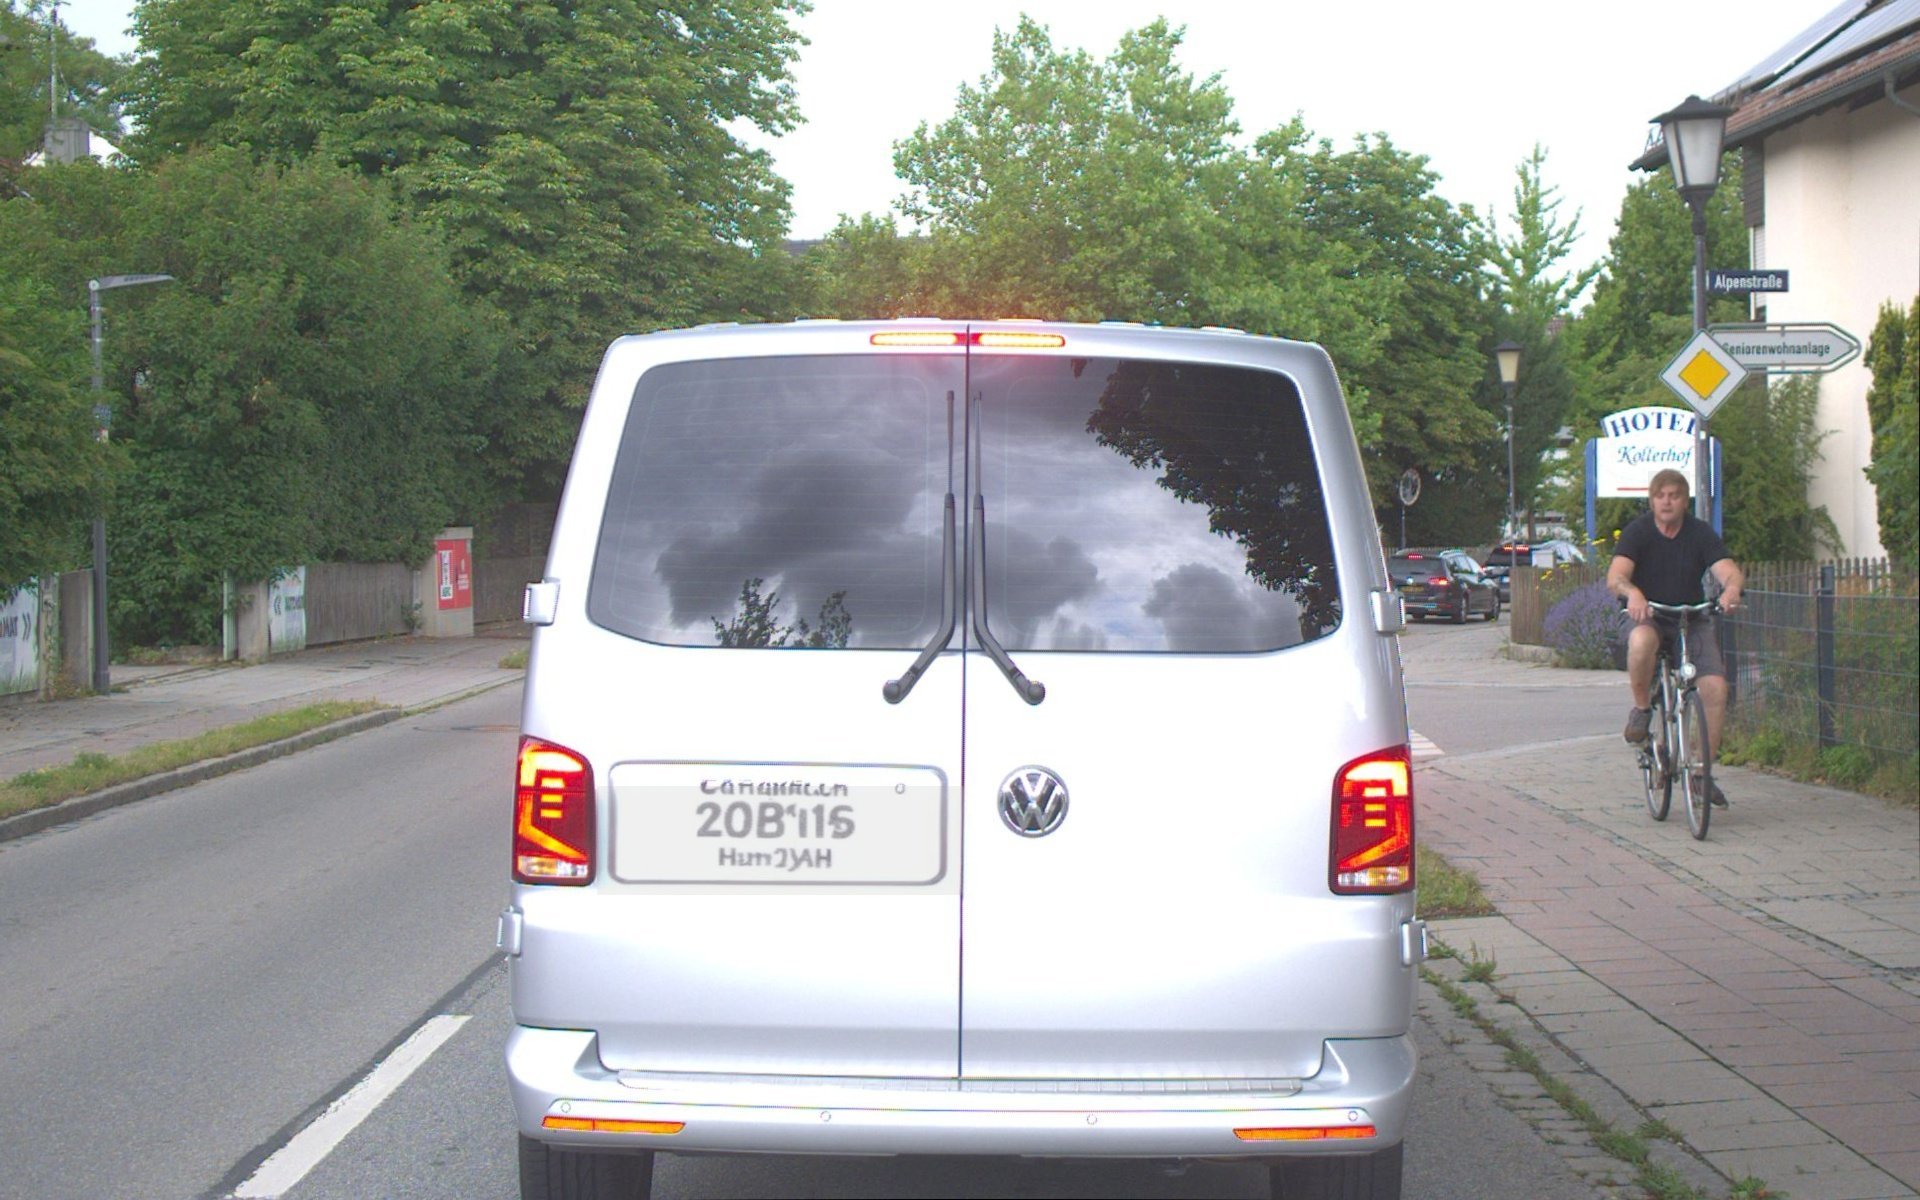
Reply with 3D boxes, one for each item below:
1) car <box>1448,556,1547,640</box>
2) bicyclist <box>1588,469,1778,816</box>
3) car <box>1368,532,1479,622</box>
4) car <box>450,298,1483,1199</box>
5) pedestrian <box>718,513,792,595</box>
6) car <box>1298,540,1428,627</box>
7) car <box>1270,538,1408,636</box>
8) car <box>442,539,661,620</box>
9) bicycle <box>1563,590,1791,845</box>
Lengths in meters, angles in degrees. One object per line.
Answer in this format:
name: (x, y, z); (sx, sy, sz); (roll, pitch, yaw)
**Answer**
car: (12.183, -0.059, 77.767); (1.882, 1.819, 3.918); (0, 1, 14)
bicyclist: (3.475, 0.192, 16.587); (0.736, 1.627, 0.890); (0, 1, 1)
car: (9.370, -0.488, 69.253); (1.882, 1.742, 4.078); (0, 1, 12)
car: (0.032, 0.388, 8.256); (1.881, 1.934, 3.921); (0, 1, 1)
pedestrian: (-4.576, -1.030, 76.593); (1.318, 1.796, 1.069); (-1, 1, -28)
car: (7.355, -0.321, 62.434); (1.882, 1.530, 3.918); (0, 1, 14)
car: (6.249, -0.239, 56.374); (1.882, 1.530, 3.919); (0, 1, 12)
car: (-7.638, -0.391, 64.197); (3.986, 1.481, 2.001); (0, 1, -8)
bicycle: (3.453, 0.538, 16.700); (0.764, 1.139, 1.845); (0, 1, 1)
